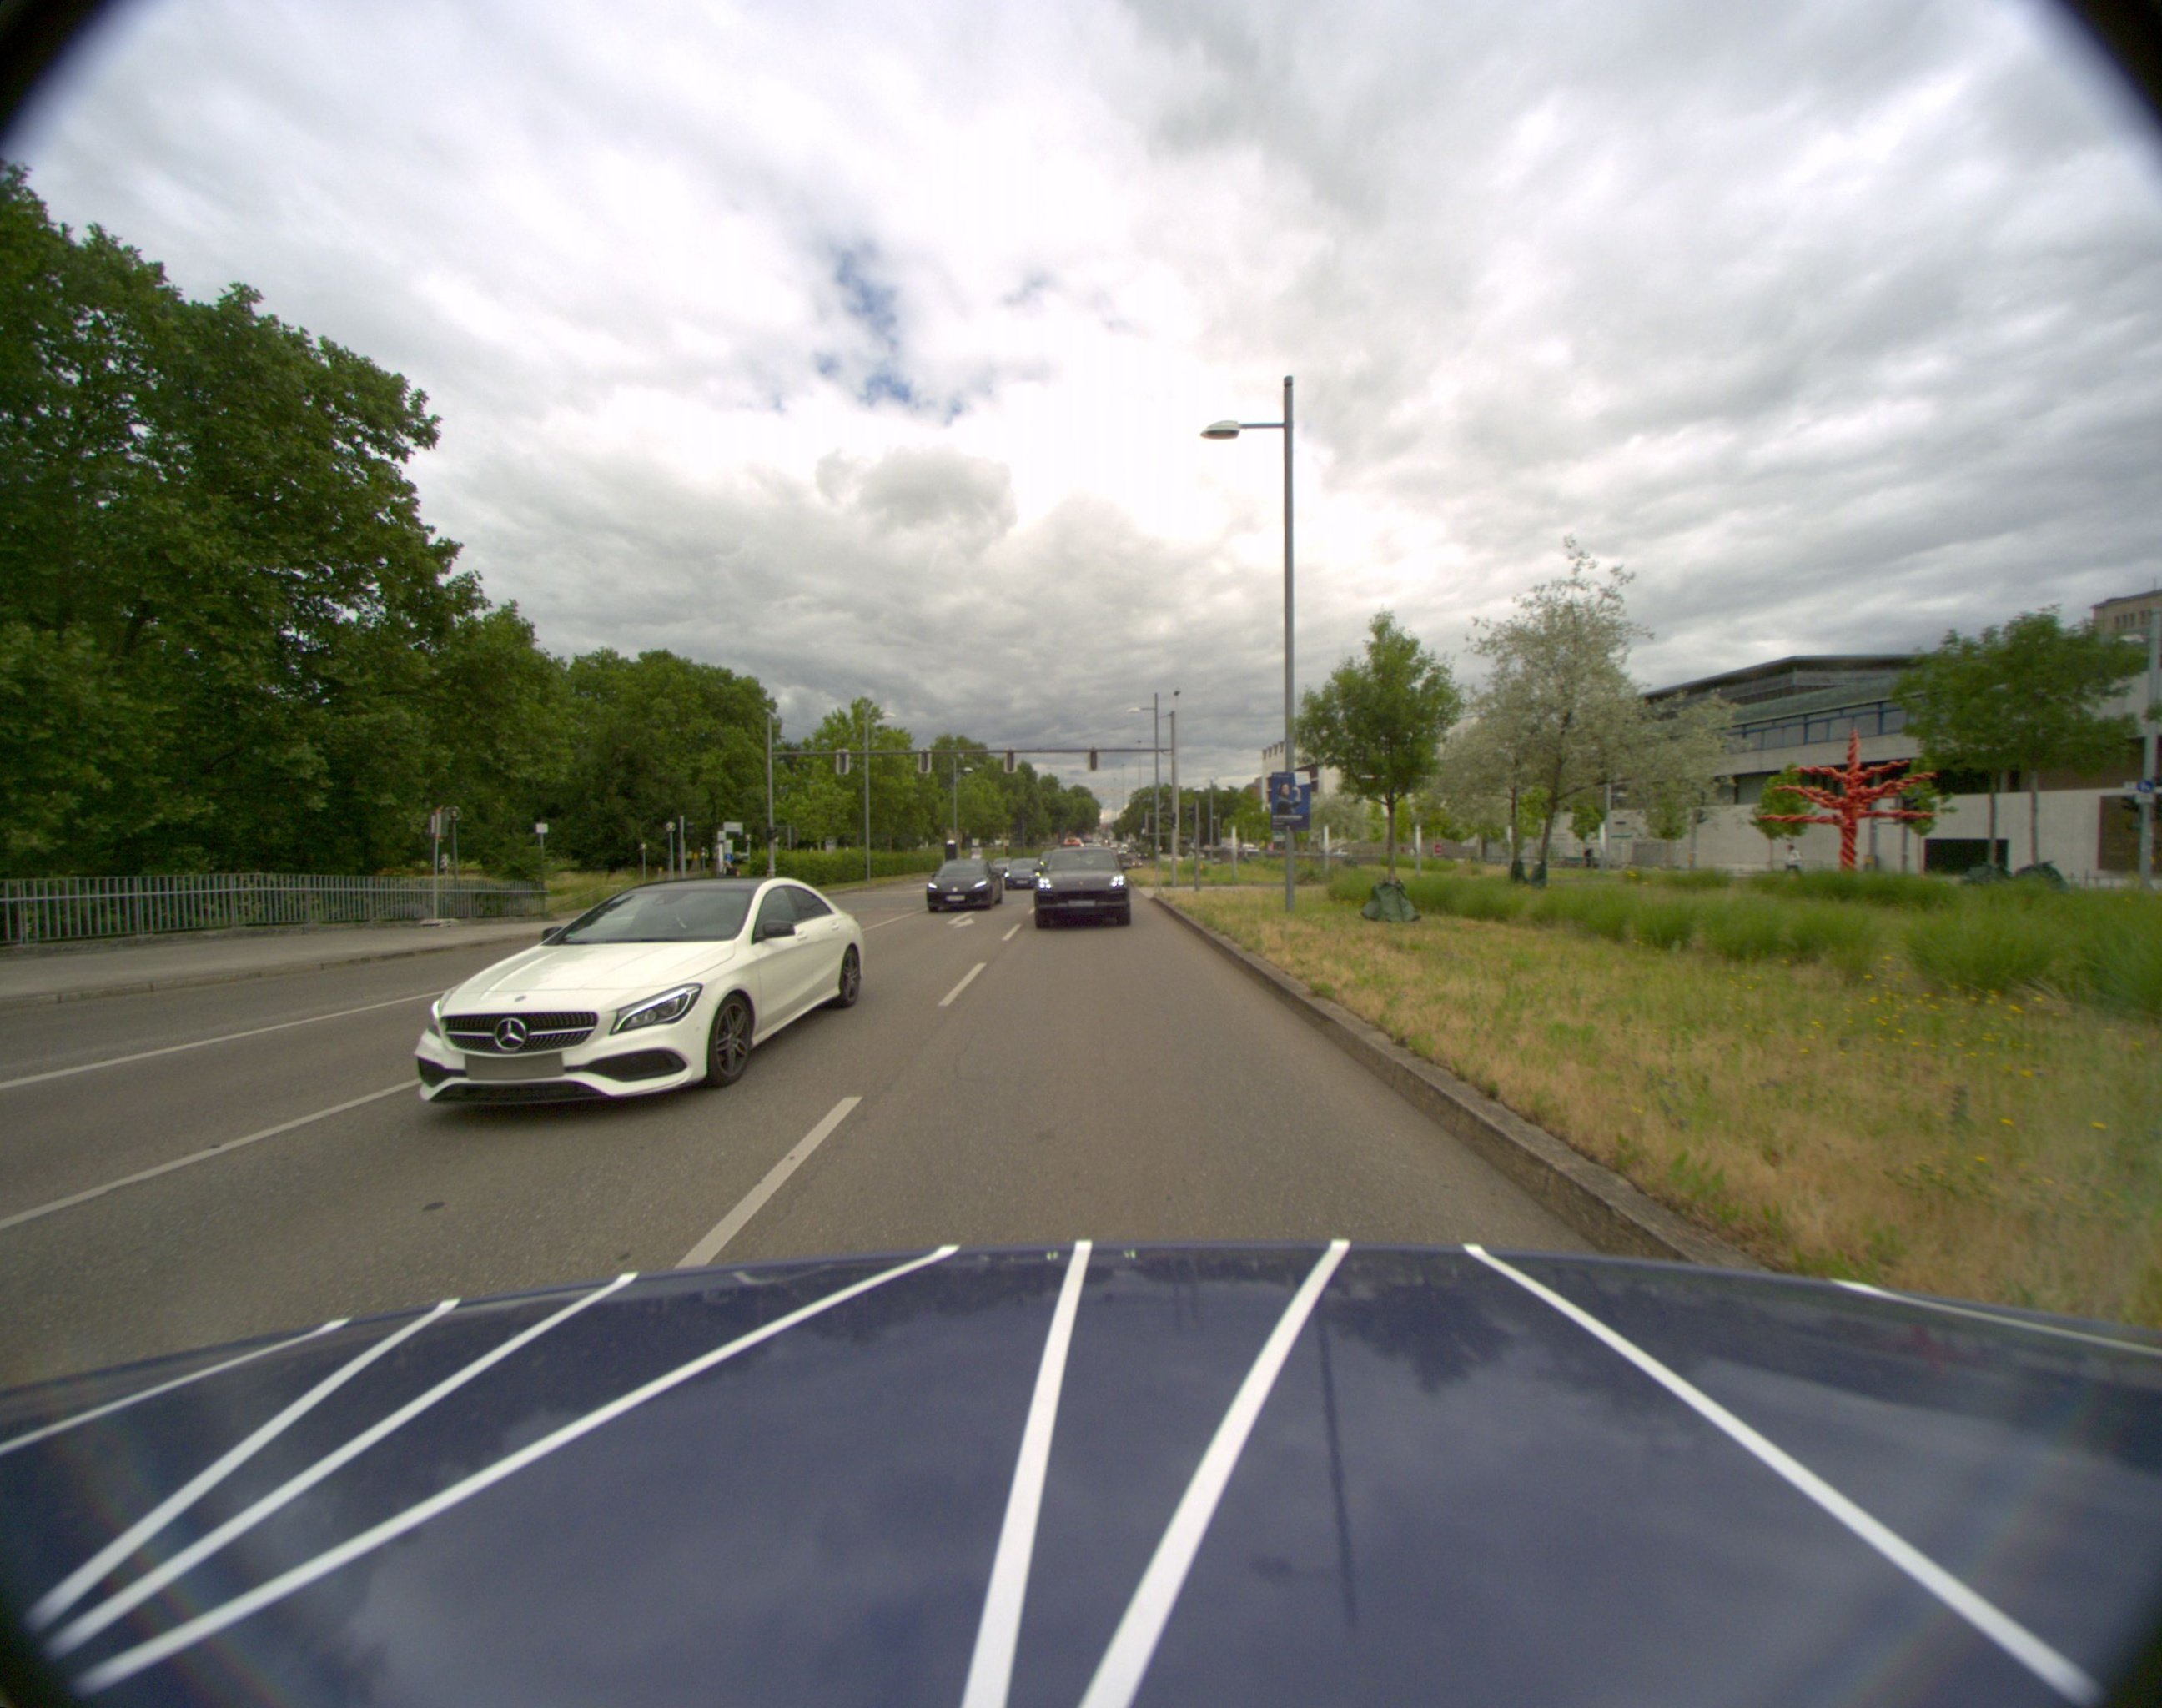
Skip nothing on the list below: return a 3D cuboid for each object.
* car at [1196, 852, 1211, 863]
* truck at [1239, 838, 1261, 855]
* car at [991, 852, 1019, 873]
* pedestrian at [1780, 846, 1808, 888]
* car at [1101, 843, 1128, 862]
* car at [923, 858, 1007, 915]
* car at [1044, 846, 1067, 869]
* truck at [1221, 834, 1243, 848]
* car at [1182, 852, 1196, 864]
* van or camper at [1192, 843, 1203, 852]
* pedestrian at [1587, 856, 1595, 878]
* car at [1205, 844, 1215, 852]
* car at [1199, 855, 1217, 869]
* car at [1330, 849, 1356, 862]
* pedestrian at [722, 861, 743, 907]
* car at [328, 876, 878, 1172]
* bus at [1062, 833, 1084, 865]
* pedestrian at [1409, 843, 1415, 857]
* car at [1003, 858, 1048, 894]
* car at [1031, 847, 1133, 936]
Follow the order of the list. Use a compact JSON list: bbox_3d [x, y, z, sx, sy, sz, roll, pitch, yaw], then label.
[{"bbox_3d":[22.634,0.666,140.319,1.998,2.002,4.000,2,0,1],"label":"car"},{"bbox_3d":[29.037,-1.234,130.605,2.469,2.800,7.079,-1,0,2],"label":"truck"},{"bbox_3d":[-5.877,0.648,59.174,1.723,1.528,4.001,-2,1,1],"label":"car"},{"bbox_3d":[29.690,0.536,31.652,0.541,1.723,0.663,-2,1,1],"label":"pedestrian"},{"bbox_3d":[2.832,-0.157,64.931,1.762,1.538,3.998,-2,1,-5],"label":"car"},{"bbox_3d":[-3.437,0.909,23.263,1.829,1.515,4.120,-2,0,1],"label":"car"},{"bbox_3d":[-2.139,0.276,64.439,1.723,1.851,4.430,-2,1,1],"label":"car"},{"bbox_3d":[31.642,-2.673,159.772,3.239,2.771,7.254,-1,0,1],"label":"truck"},{"bbox_3d":[19.299,0.698,135.888,1.998,2.002,4.332,2,0,1],"label":"car"},{"bbox_3d":[27.550,-1.547,180.069,1.998,2.002,4.557,-1,0,1],"label":"van or camper"},{"bbox_3d":[36.358,0.915,54.122,0.318,1.513,0.316,-2,1,-6],"label":"pedestrian"},{"bbox_3d":[27.596,-1.346,162.666,1.723,1.565,4.271,-1,0,2],"label":"car"},{"bbox_3d":[18.783,1.158,112.918,1.998,2.002,4.000,2,0,1],"label":"car"},{"bbox_3d":[32.664,0.158,94.862,1.723,1.565,4.613,-1,0,2],"label":"car"},{"bbox_3d":[-13.731,1.183,29.968,0.479,1.754,0.620,-2,1,-2],"label":"pedestrian"},{"bbox_3d":[-3.254,1.017,6.476,1.723,1.415,4.505,-2,1,1],"label":"car"},{"bbox_3d":[-1.121,-0.777,111.159,3.043,4.328,8.748,-1,1,0],"label":"bus"},{"bbox_3d":[37.010,-0.429,84.876,0.428,1.513,0.461,-2,1,-6],"label":"pedestrian"},{"bbox_3d":[-2.595,1.043,36.249,1.573,1.527,4.003,-4,-2,2],"label":"car"},{"bbox_3d":[0.059,0.706,17.145,1.937,1.668,4.679,-2,1,1],"label":"car"}]
